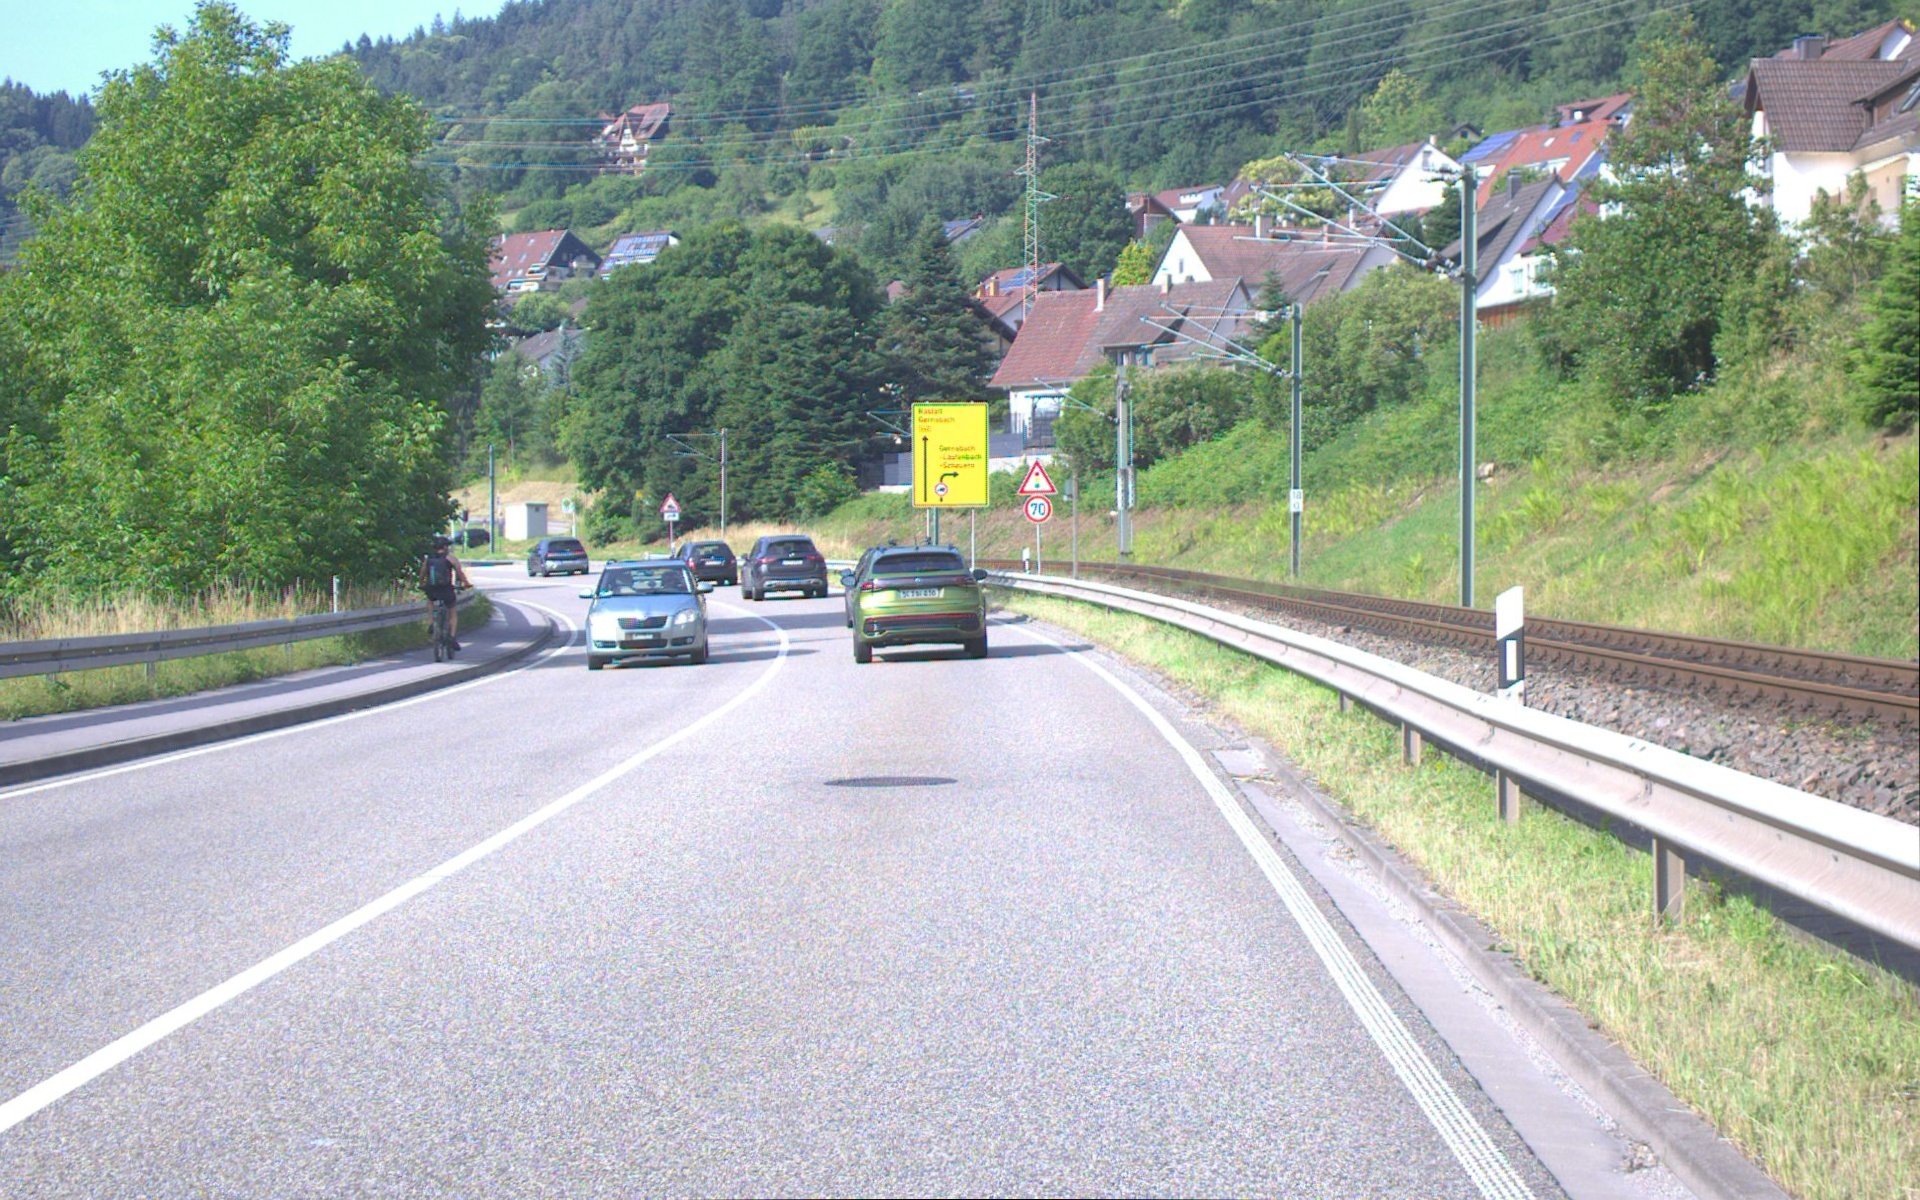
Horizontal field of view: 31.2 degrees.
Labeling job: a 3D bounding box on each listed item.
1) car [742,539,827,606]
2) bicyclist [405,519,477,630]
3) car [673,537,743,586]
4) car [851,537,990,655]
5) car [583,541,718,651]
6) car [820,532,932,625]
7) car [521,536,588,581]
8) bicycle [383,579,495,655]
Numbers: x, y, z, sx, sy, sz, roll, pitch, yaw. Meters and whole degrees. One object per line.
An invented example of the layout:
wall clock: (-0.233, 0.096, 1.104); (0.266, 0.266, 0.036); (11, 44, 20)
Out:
car: (-4.586, -0.730, 89.305); (1.879, 1.681, 4.001); (0, 1, -7)
bicyclist: (-7.503, -0.372, 49.758); (0.558, 1.581, 1.034); (2, 1, 20)
car: (-8.091, -1.233, 110.323); (1.848, 1.521, 3.663); (1, 1, -10)
car: (-0.490, -0.091, 45.595); (1.714, 1.450, 4.000); (-2, 1, 0)
car: (-4.343, -0.086, 48.667); (1.577, 1.474, 4.000); (1, 1, 0)
car: (-1.490, -0.390, 59.702); (1.667, 1.554, 4.001); (-1, 1, -5)
car: (-16.968, -1.722, 143.731); (2.062, 1.805, 4.001); (0, 0, -18)
bicycle: (-7.524, 0.231, 49.776); (0.558, 1.042, 2.227); (2, 1, 20)
